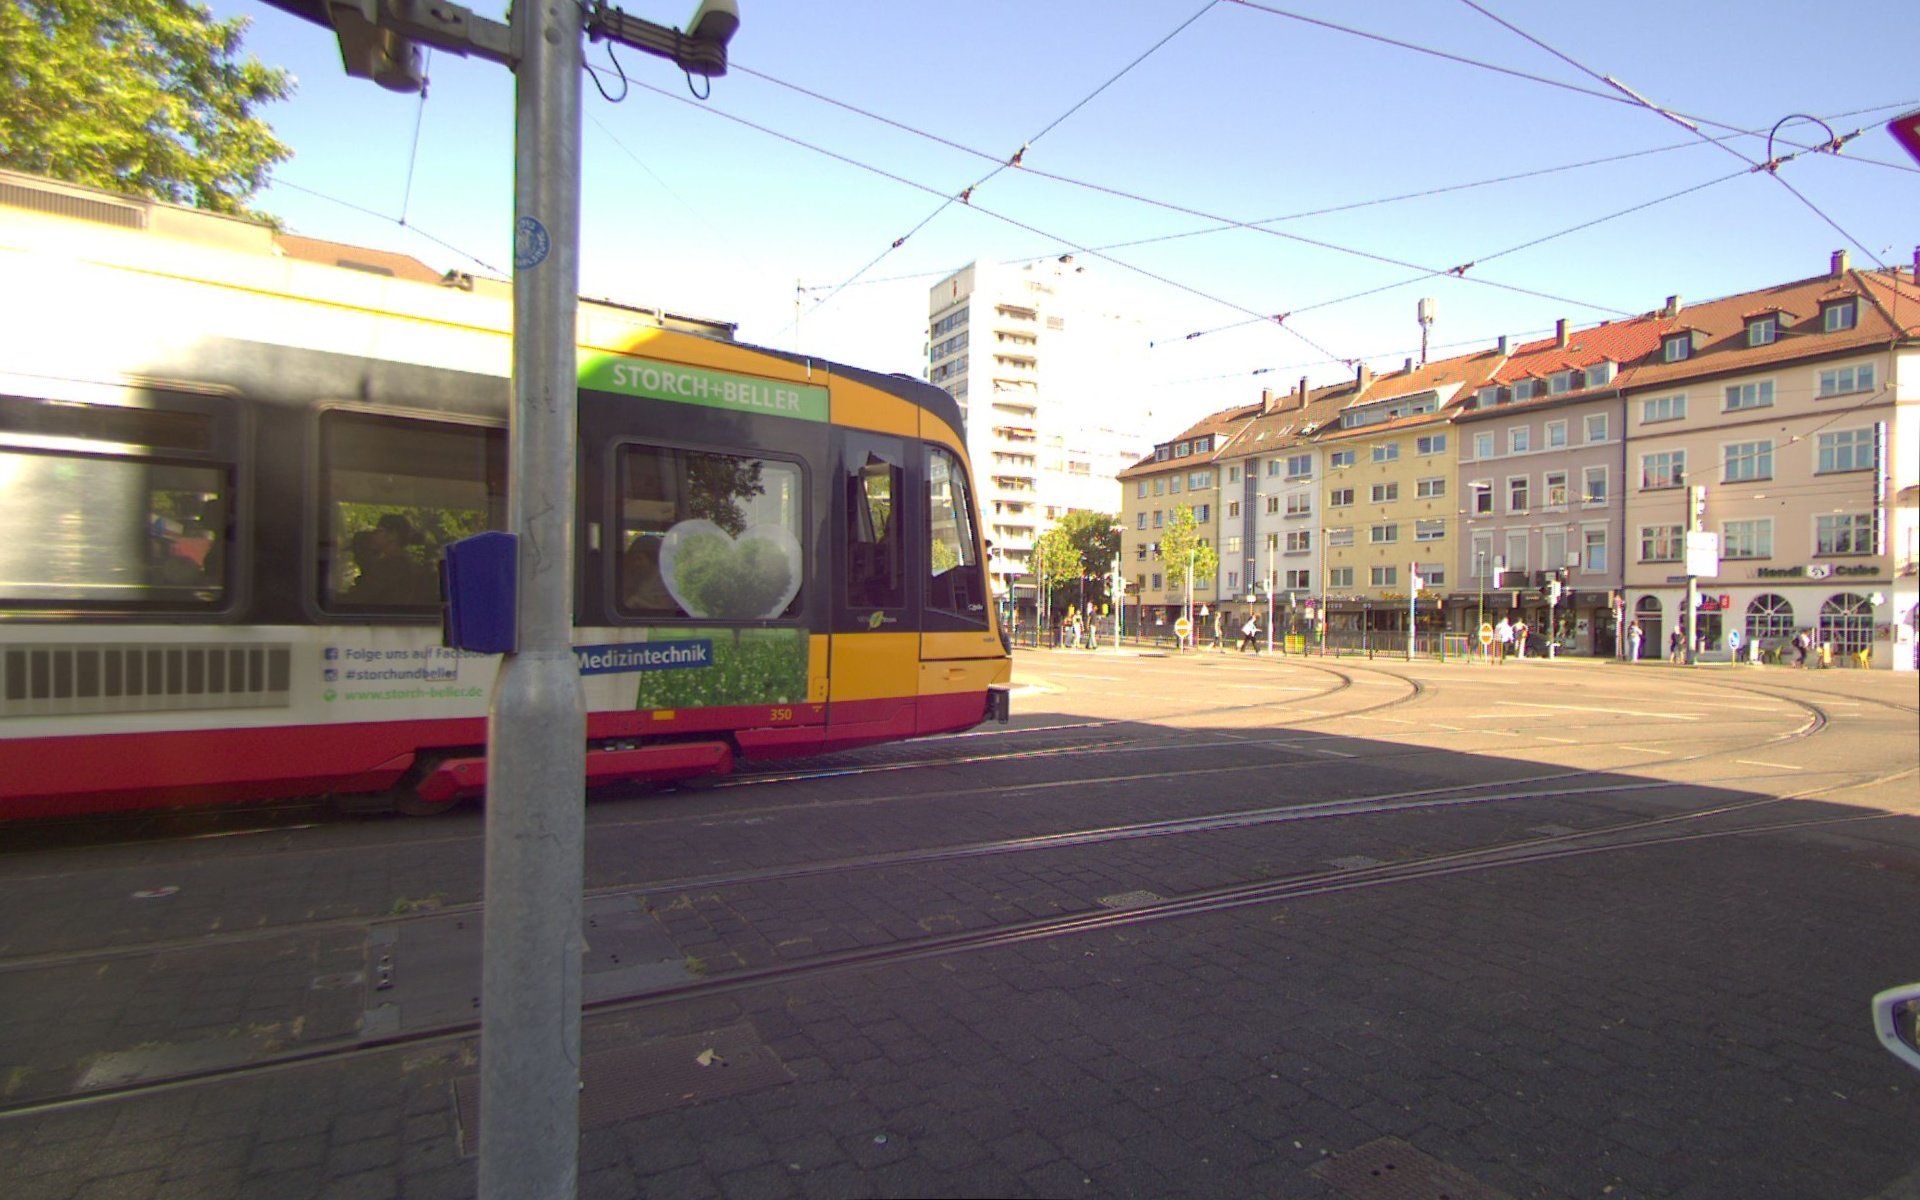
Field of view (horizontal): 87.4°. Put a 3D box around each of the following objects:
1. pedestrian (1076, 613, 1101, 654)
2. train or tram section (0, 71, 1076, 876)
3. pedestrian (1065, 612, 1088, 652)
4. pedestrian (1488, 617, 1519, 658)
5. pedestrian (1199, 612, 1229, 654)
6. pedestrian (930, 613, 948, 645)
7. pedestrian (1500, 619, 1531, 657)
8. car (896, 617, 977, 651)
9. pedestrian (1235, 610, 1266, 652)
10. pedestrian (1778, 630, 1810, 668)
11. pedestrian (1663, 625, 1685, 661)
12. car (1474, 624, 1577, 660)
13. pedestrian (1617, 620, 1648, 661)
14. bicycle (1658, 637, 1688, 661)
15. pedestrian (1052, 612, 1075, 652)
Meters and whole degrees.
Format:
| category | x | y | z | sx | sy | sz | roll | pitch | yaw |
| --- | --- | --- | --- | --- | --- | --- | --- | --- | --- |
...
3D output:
| category | x | y | z | sx | sy | sz | roll | pitch | yaw |
| --- | --- | --- | --- | --- | --- | --- | --- | --- | --- |
| pedestrian | 5.529 | 1.425 | 43.308 | 0.747 | 1.756 | 0.797 | 0 | 0 | -28 |
| train or tram section | -4.610 | -0.577 | 6.643 | 12.009 | 3.864 | 2.911 | 2 | -1 | -37 |
| pedestrian | 5.223 | 1.425 | 45.074 | 0.747 | 1.756 | 0.797 | 0 | 0 | -28 |
| pedestrian | 22.148 | 1.523 | 40.934 | 0.867 | 1.598 | 0.665 | 2 | 0 | -2 |
| pedestrian | 10.535 | 1.354 | 41.744 | 1.037 | 1.700 | 0.929 | 0 | 0 | 3 |
| pedestrian | -1.156 | 1.572 | 55.348 | 0.747 | 1.756 | 0.797 | 0 | 0 | -28 |
| pedestrian | 24.328 | 1.663 | 43.984 | 0.821 | 1.598 | 0.847 | 2 | 0 | -20 |
| car | -1.167 | 1.610 | 48.360 | 1.875 | 1.550 | 3.954 | 1 | -2 | -39 |
| pedestrian | 11.983 | 1.284 | 41.474 | 1.037 | 1.700 | 0.929 | 0 | 0 | 3 |
| pedestrian | 36.854 | 2.162 | 44.373 | 0.816 | 1.598 | 0.728 | 2 | 0 | 14 |
| pedestrian | 34.065 | 2.052 | 47.936 | 0.743 | 1.692 | 0.579 | 2 | 0 | -30 |
| car | 30.818 | 2.289 | 54.843 | 2.277 | 1.734 | 4.350 | 2 | 0 | -27 |
| pedestrian | 26.639 | 1.603 | 39.815 | 0.817 | 1.598 | 0.552 | 2 | 0 | -2 |
| bicycle | 34.011 | 2.352 | 47.910 | 1.479 | 1.091 | 0.570 | 2 | 0 | -30 |
| pedestrian | 4.605 | 1.403 | 44.743 | 0.747 | 1.756 | 0.797 | 0 | 0 | -28 |
